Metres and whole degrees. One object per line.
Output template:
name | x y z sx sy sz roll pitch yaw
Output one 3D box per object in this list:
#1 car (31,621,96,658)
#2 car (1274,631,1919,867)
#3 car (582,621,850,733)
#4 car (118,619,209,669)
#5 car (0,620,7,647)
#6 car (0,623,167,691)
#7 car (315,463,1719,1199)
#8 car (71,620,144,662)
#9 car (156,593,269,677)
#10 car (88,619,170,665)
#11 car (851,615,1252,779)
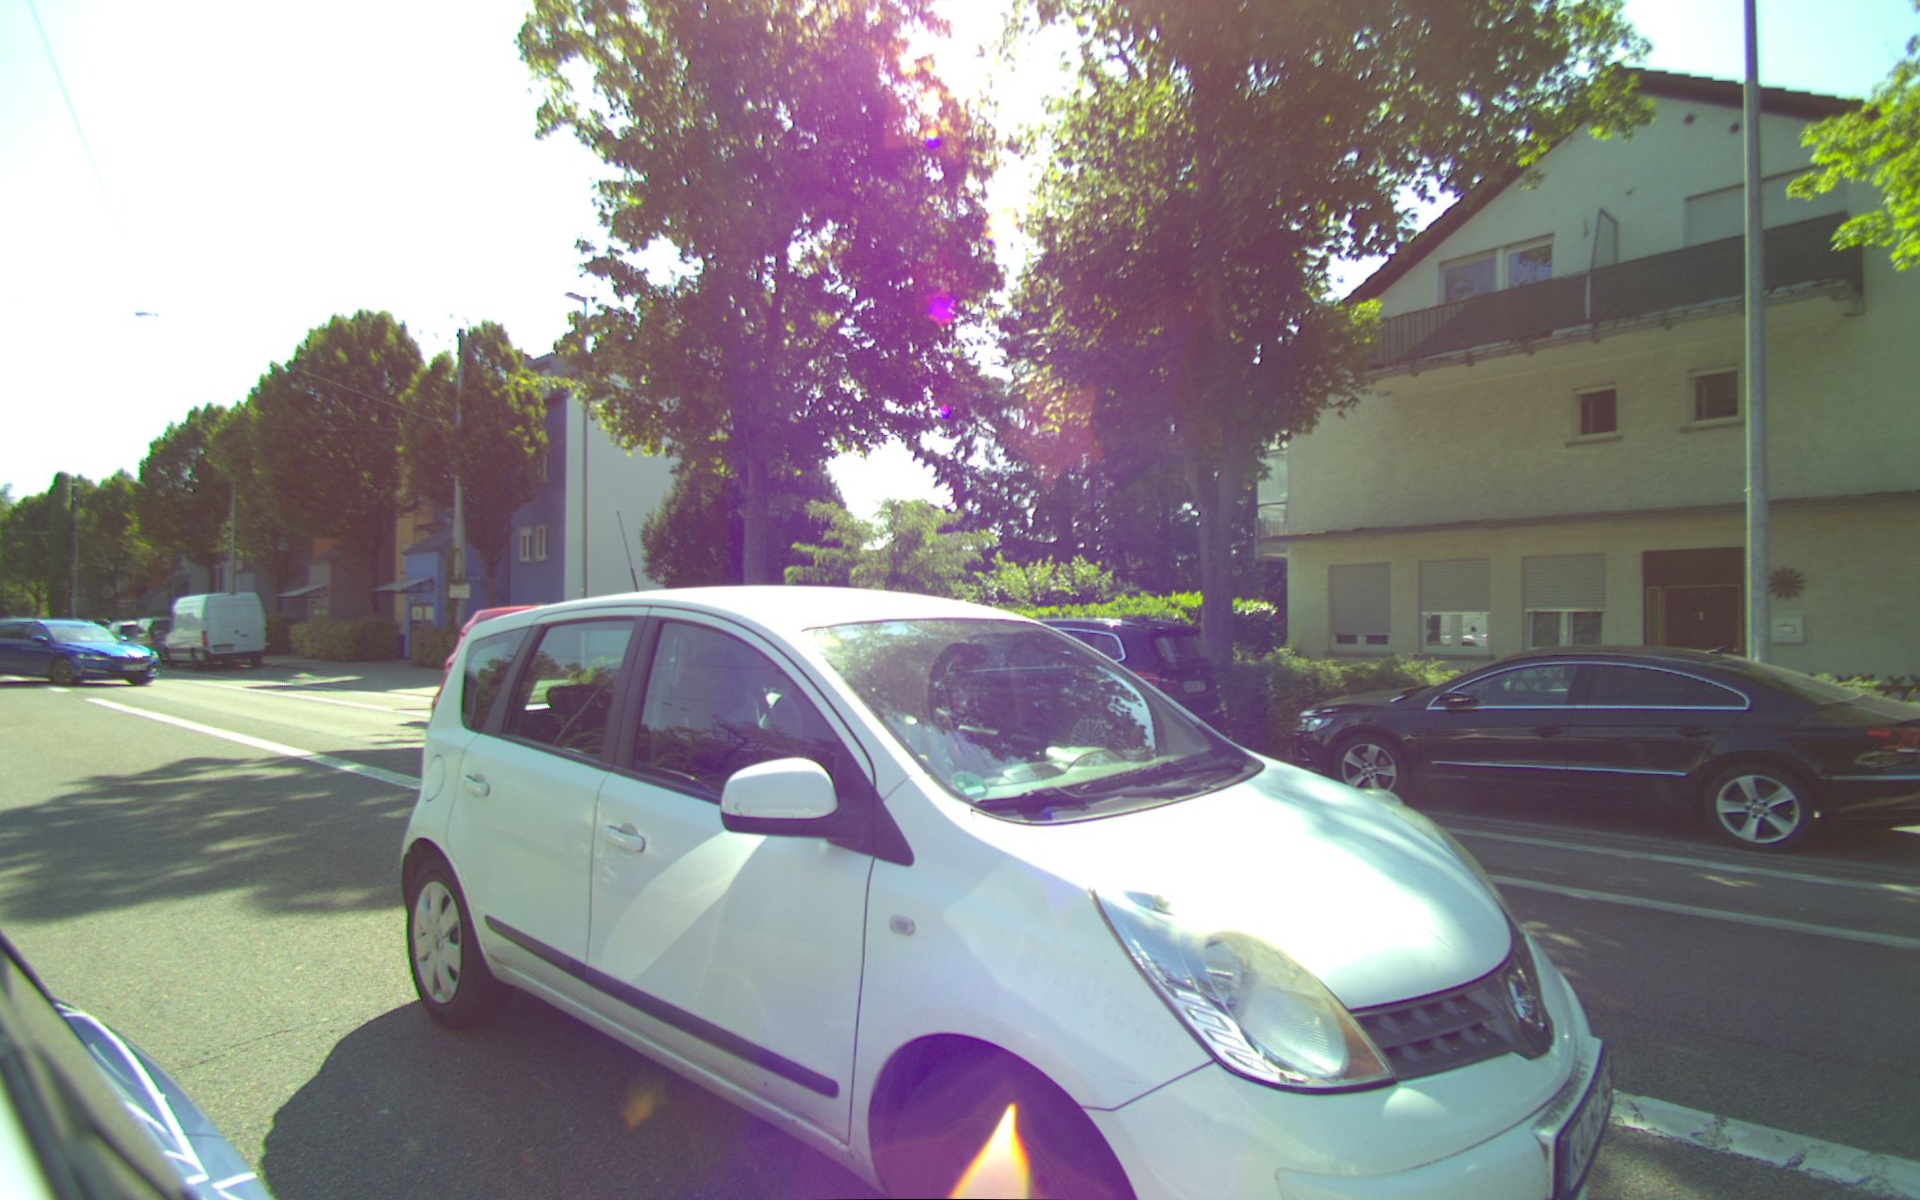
car | -50.217 2.193 56.675 4.766 1.818 1.974 -2 4 41
car | 5.221 1.008 8.433 4.619 1.426 1.844 -1 0 41
car | -4.073 1.153 16.502 4.616 1.583 1.845 -1 -2 39
car | -33.451 1.809 42.448 4.766 1.818 1.974 -2 4 41
car | -68.718 2.448 71.074 4.766 1.818 1.974 -2 4 41
car | -20.895 1.260 23.192 5.035 1.441 1.879 0 -2 19
car | -0.428 0.665 3.314 4.544 1.559 1.645 -1 -1 41
car | -42.111 2.003 49.991 4.254 1.818 1.974 -2 4 41
car | -27.361 1.238 36.947 6.213 2.713 1.973 -2 4 43
car | -38.044 1.876 46.314 4.766 1.818 1.974 -2 4 41
car | 0.950 1.014 12.246 4.619 1.583 1.844 -1 0 41
